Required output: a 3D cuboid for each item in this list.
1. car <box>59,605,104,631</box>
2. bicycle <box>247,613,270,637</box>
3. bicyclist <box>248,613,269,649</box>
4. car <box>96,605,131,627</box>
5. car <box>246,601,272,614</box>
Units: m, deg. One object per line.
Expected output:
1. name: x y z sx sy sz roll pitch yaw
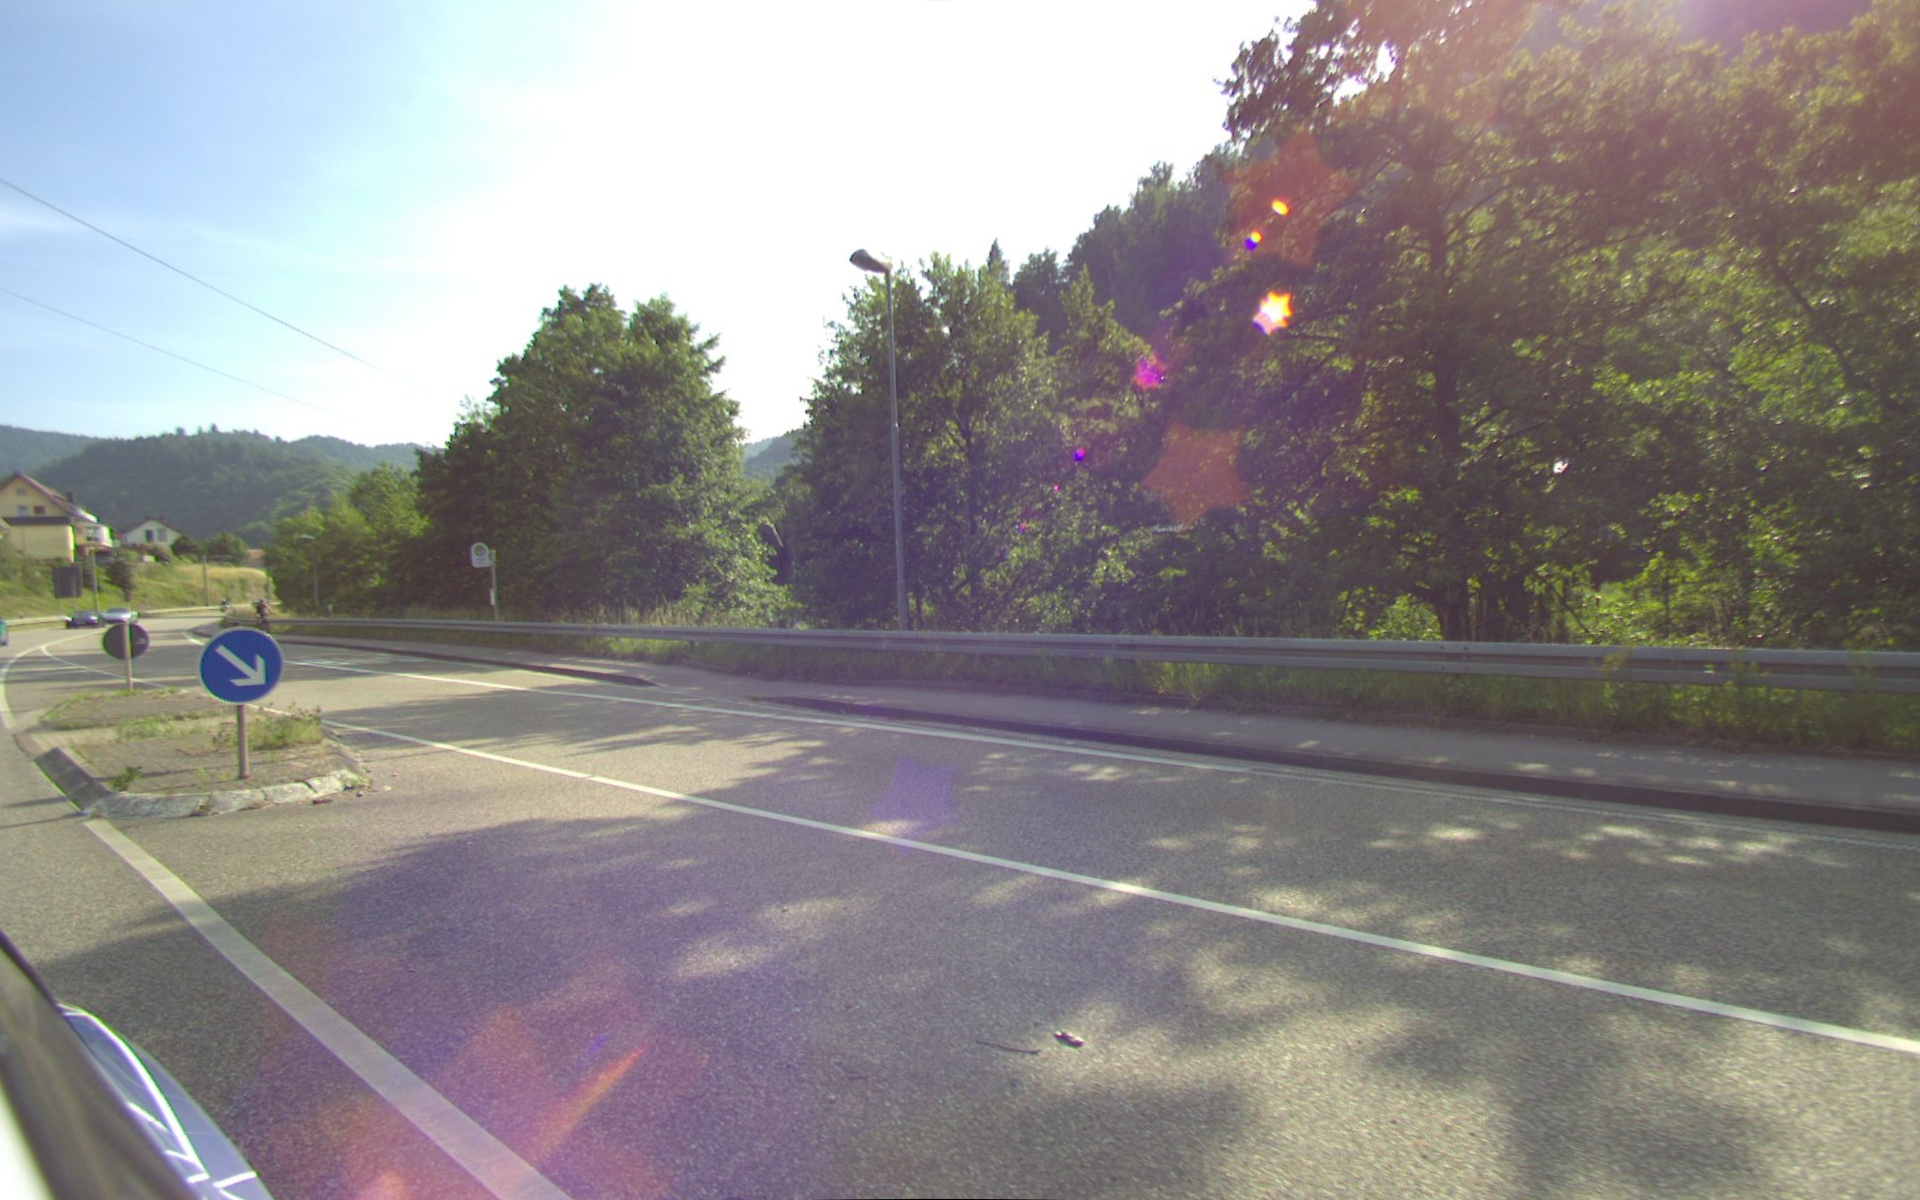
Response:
1. car: -62.243 1.242 71.748 1.855 1.758 4.190 -1 0 -34
2. bicycle: -32.907 1.183 47.447 0.551 1.053 2.232 -6 2 -42
3. bicyclist: -32.886 1.444 47.435 0.551 1.598 1.037 -6 2 -42
4. car: -70.169 1.295 83.945 1.855 1.758 4.189 -1 0 -35
5. car: -86.181 0.928 124.417 1.864 1.499 4.014 -2 2 -23
